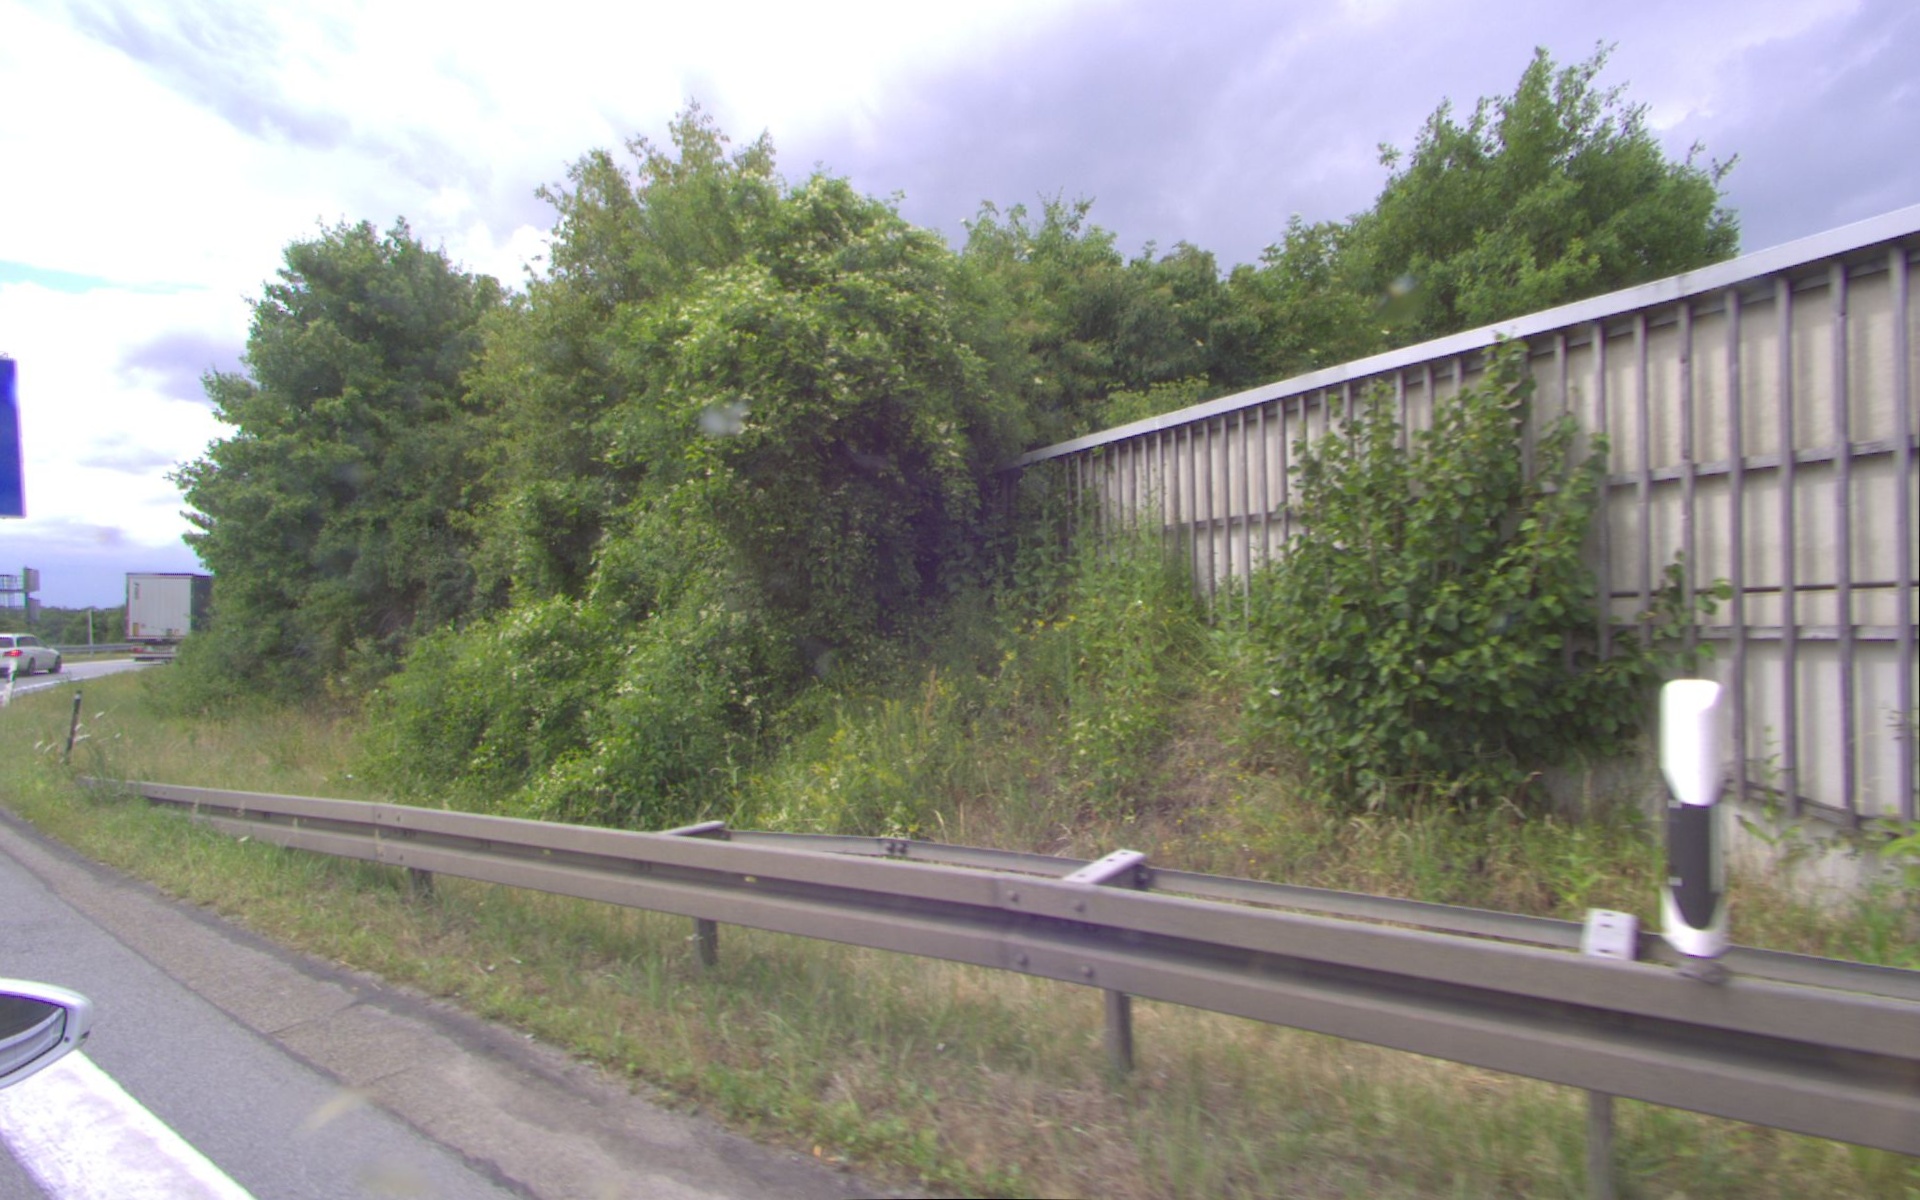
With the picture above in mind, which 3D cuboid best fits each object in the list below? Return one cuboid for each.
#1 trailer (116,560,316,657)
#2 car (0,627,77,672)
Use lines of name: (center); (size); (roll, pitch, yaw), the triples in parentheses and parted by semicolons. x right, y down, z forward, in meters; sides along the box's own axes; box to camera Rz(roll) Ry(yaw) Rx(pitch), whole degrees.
trailer: (-37.031, 0.552, 50.748); (3.280, 4.247, 13.019); (0, -1, -13)
car: (-33.836, 1.740, 35.869); (2.180, 1.521, 4.766); (0, -1, -28)
